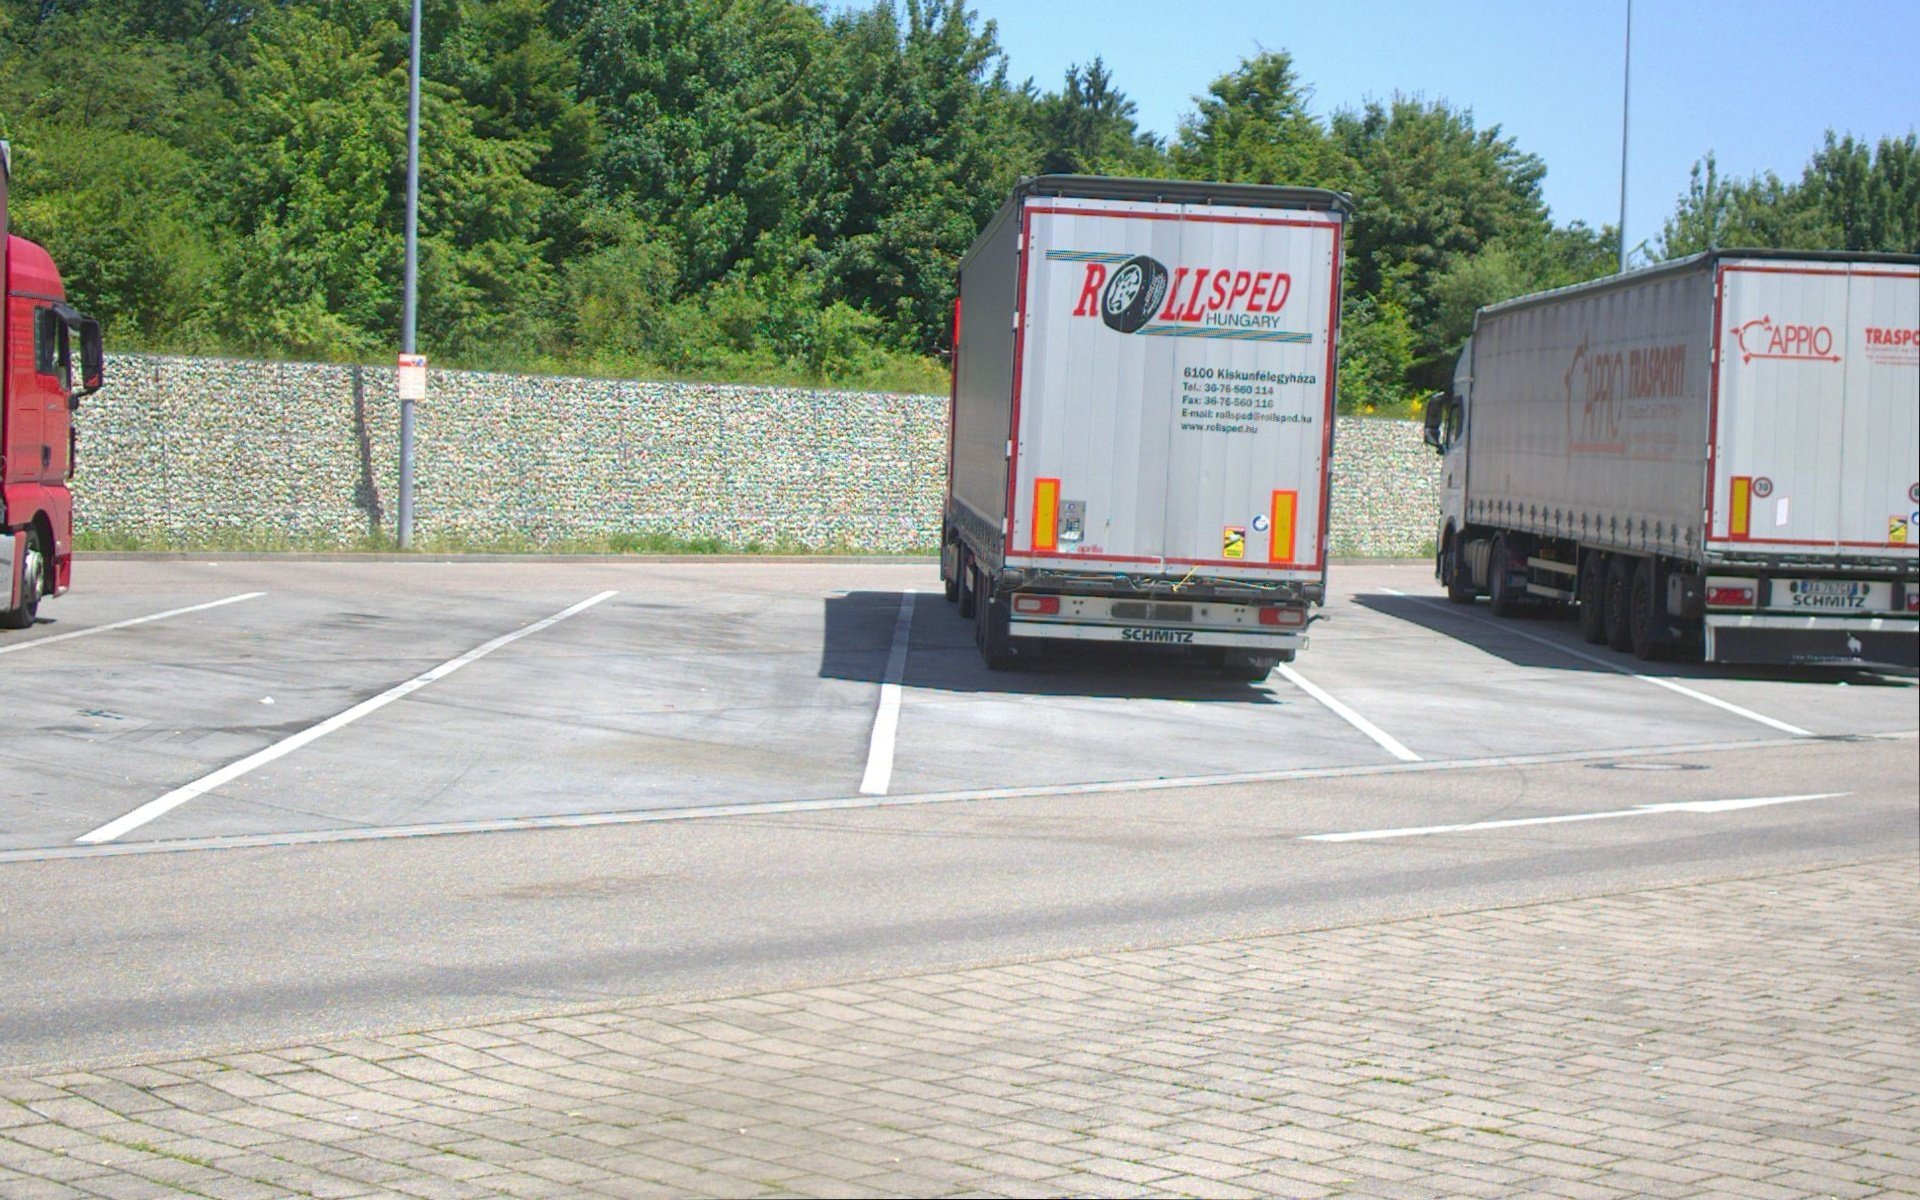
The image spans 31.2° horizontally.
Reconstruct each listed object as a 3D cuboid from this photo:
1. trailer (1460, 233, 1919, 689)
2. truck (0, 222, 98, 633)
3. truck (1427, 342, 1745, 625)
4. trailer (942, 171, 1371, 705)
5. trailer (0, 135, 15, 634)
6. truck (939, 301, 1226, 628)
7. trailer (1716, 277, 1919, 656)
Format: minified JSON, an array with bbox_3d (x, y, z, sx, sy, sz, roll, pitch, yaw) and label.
[{"bbox_3d":[8.189,-1.593,38.393,2.858,4.095,13.765,2,3,-1],"label":"trailer"},{"bbox_3d":[-9.248,-1.457,28.213,2.812,3.351,5.975,2,3,-1],"label":"truck"},{"bbox_3d":[8.085,-1.574,45.159,2.865,3.351,5.975,2,3,-1],"label":"truck"},{"bbox_3d":[1.461,-1.571,33.137,2.858,3.958,13.765,2,3,-1],"label":"trailer"},{"bbox_3d":[-9.159,-1.467,21.394,2.821,4.057,13.765,2,3,-1],"label":"trailer"},{"bbox_3d":[1.276,-1.576,39.339,2.865,3.351,5.975,2,3,-1],"label":"truck"},{"bbox_3d":[11.786,-1.510,39.406,2.858,4.095,13.765,2,3,-1],"label":"trailer"}]
